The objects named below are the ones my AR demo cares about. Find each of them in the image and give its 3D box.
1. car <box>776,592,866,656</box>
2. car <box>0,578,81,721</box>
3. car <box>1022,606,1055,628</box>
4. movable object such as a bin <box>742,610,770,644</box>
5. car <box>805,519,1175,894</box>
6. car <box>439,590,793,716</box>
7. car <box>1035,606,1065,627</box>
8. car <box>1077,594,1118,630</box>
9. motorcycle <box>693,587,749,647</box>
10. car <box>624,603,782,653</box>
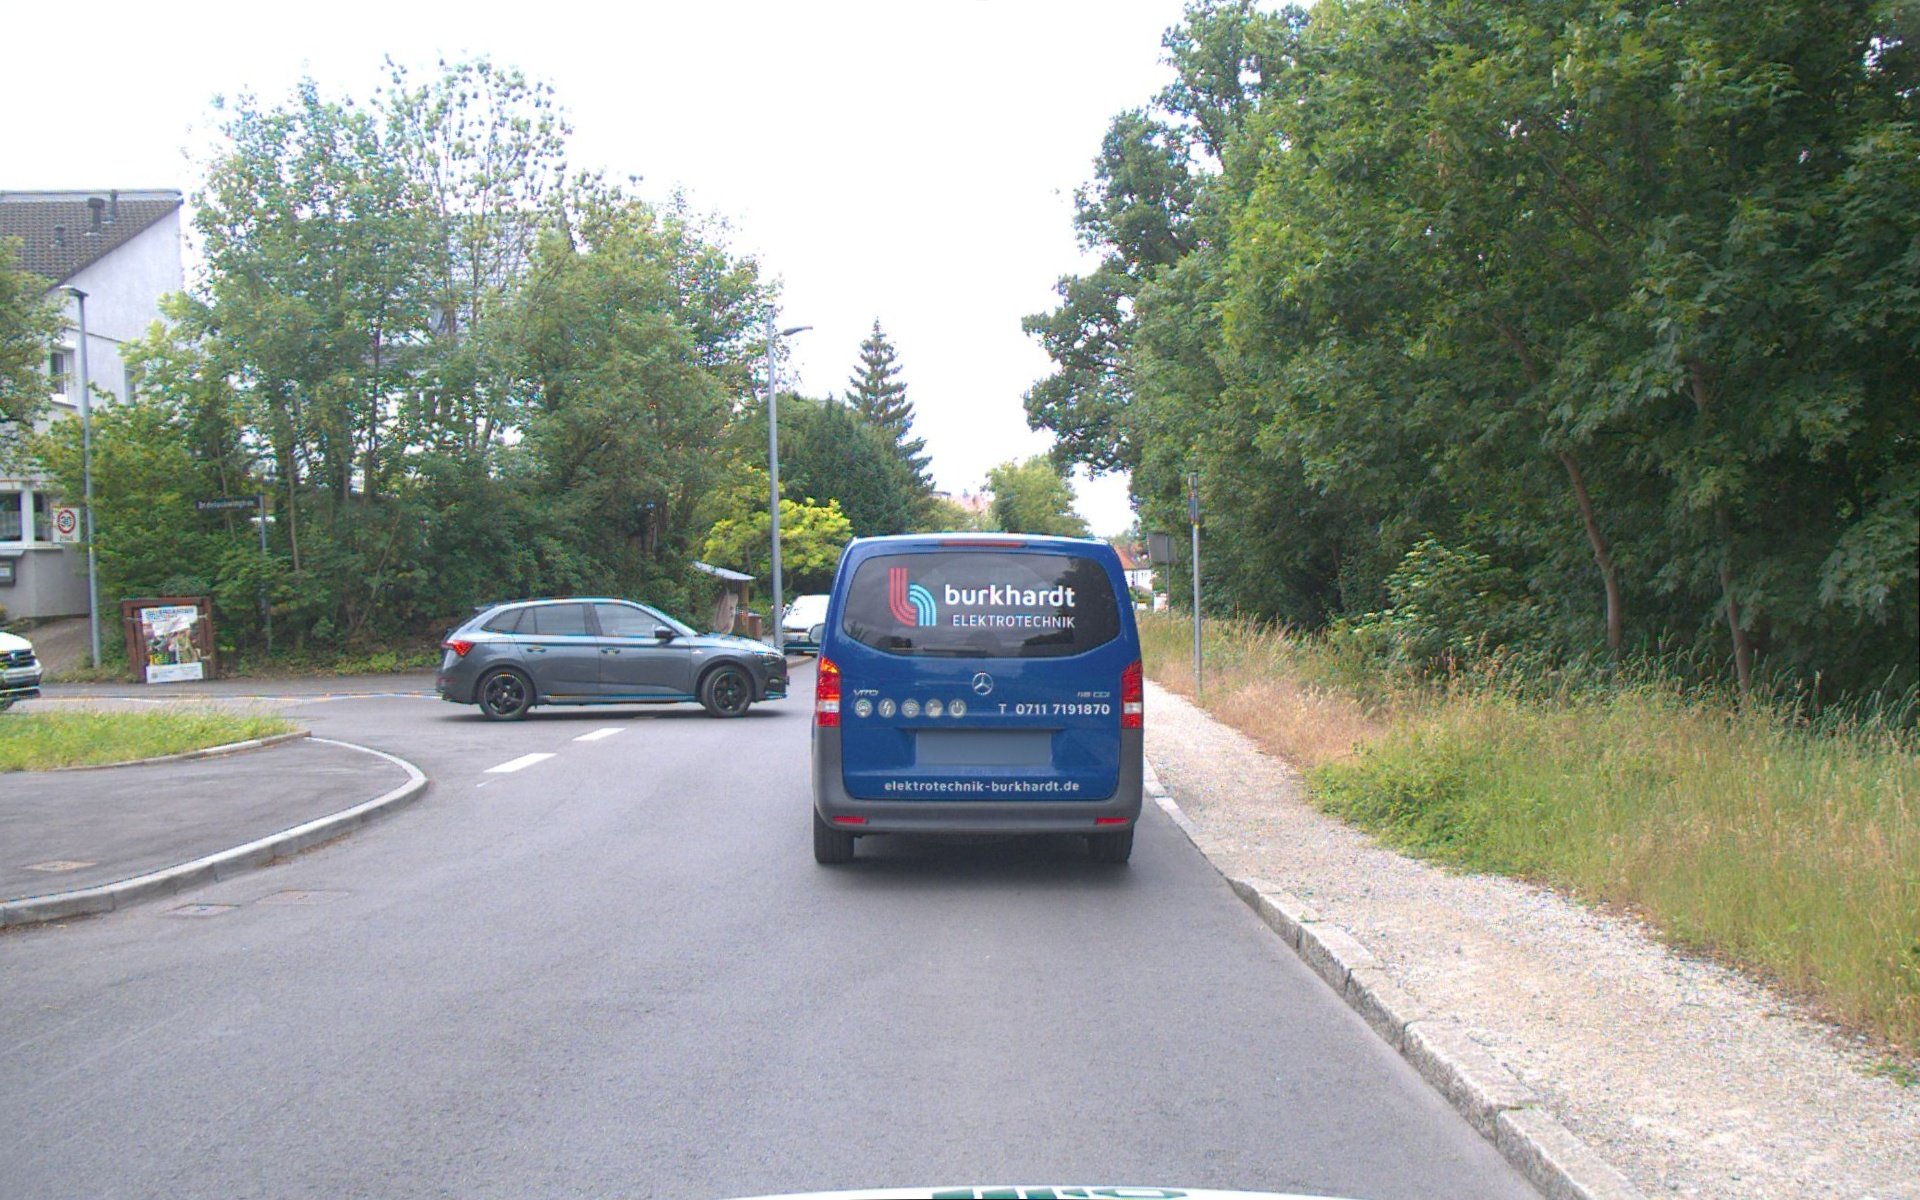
[{"bbox_3d":[-3.361,0.568,40.733,1.670,1.493,4.077,0,0,3],"label":"car"},{"bbox_3d":[-13.763,0.585,20.316,4.833,1.699,2.038,0,0,1],"label":"car"},{"bbox_3d":[5.174,1.093,108.575,1.711,1.429,4.003,0,0,9],"label":"car"},{"bbox_3d":[-5.593,0.739,45.301,0.578,0.925,0.701,0,0,9],"label":"movable object such as a bin"},{"bbox_3d":[0.093,0.522,10.743,1.897,1.913,4.529,0,1,-2],"label":"car"},{"bbox_3d":[-4.184,0.633,20.455,4.092,1.472,1.736,0,0,-11],"label":"car"},{"bbox_3d":[6.269,1.157,114.958,1.711,1.429,4.003,0,0,9],"label":"car"},{"bbox_3d":[8.481,0.702,101.847,2.159,2.100,6.140,0,0,8],"label":"car"},{"bbox_3d":[-6.216,0.429,43.236,0.792,1.511,2.897,0,0,5],"label":"motorcycle"},{"bbox_3d":[-7.762,0.829,50.241,4.386,1.466,1.880,0,0,6],"label":"car"}]
